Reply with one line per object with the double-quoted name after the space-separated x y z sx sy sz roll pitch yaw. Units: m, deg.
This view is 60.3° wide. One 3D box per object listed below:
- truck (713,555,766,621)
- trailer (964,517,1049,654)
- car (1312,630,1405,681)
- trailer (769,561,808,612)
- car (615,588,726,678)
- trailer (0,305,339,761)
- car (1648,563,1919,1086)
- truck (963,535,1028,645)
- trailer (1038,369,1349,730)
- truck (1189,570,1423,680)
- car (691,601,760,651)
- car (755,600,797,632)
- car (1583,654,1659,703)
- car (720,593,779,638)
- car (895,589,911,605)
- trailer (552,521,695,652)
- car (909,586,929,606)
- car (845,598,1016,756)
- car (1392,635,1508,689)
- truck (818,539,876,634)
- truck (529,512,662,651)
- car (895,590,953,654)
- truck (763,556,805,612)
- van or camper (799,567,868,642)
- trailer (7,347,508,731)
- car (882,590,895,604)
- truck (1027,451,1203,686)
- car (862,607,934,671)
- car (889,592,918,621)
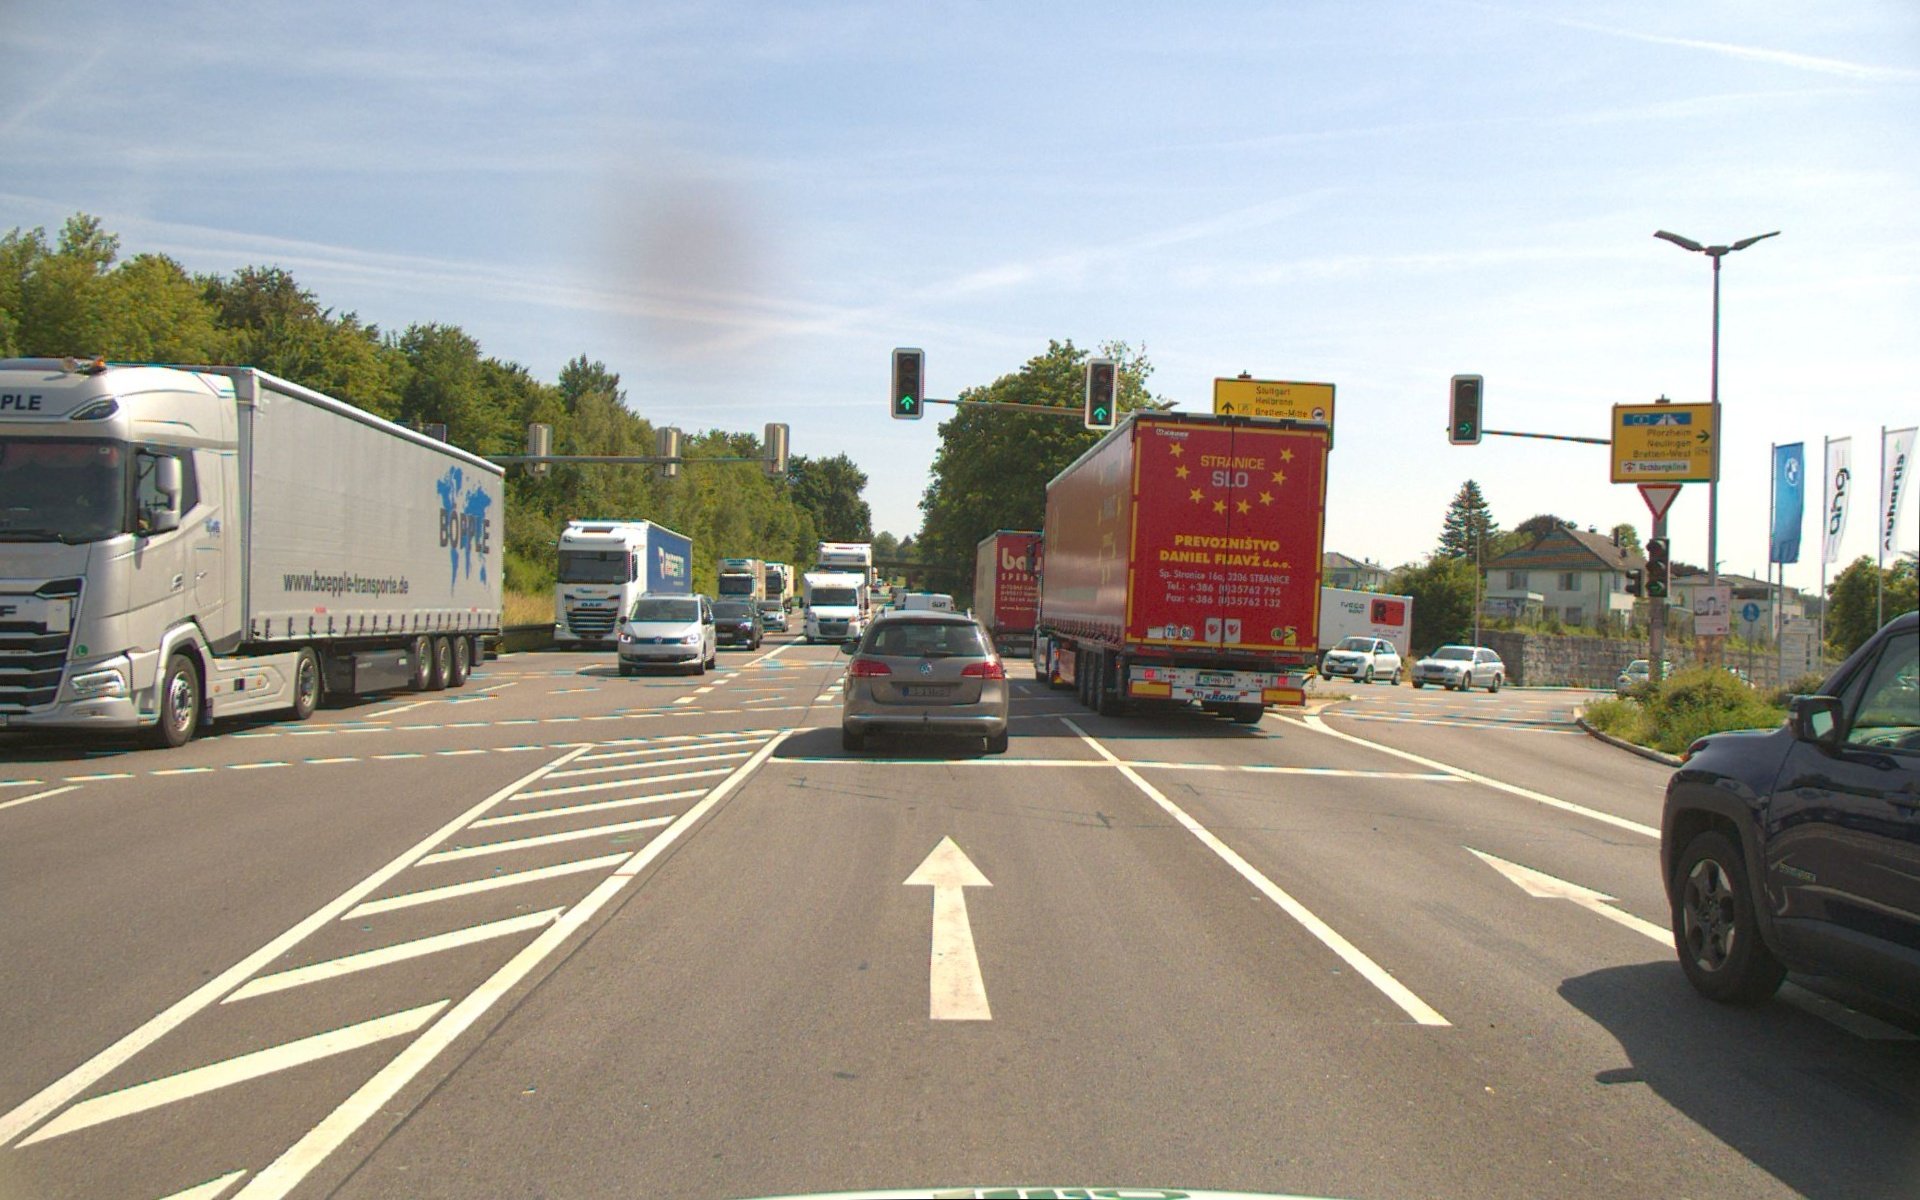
-14.351 -0.725 108.293 2.675 4.069 9.613 1 0 -3 "truck"
1.483 -0.431 58.859 2.346 4.317 13.074 1 0 -1 "trailer"
13.589 1.907 56.259 1.678 1.530 3.739 3 -2 37 "car"
-14.307 -1.091 138.542 2.784 4.141 8.749 1 0 -4 "trailer"
-6.239 0.661 36.073 1.806 1.763 4.585 2 0 -3 "car"
-9.141 -0.612 18.224 2.593 4.177 6.175 1 0 -4 "trailer"
3.961 0.731 5.366 1.734 1.683 3.999 1 0 -1 "car"
1.358 -0.370 65.931 2.357 4.200 5.519 1 0 -1 "truck"
3.269 -0.616 27.475 2.782 4.441 13.162 3 0 -2 "trailer"
14.777 1.094 70.488 9.528 3.690 2.752 6 -2 -20 "truck"
-7.481 0.797 53.091 1.955 1.511 4.448 1 0 -6 "car"
-8.954 0.774 80.627 1.690 1.528 3.999 1 0 -1 "car"
24.322 2.883 60.750 1.957 1.602 3.991 3 0 30 "car"
-8.489 0.626 67.007 1.953 1.756 3.999 1 0 -2 "car"
-7.312 -0.414 212.468 1.954 2.049 3.997 1 0 -3 "car"
-11.921 -0.410 60.180 3.031 4.151 14.117 1 0 -3 "trailer"
-4.264 -0.383 170.592 1.954 2.049 3.997 1 0 -3 "car"
-0.403 0.762 18.211 1.658 1.539 3.997 1 0 -3 "car"
16.180 2.058 54.481 1.962 1.531 4.977 3 -2 37 "car"
-5.165 -0.599 75.786 2.487 4.159 6.260 1 0 -4 "truck"
-11.553 -0.543 53.023 3.124 4.151 6.341 1 0 -3 "truck"
-1.193 0.687 53.232 1.735 1.970 3.975 1 0 -3 "car"
-13.723 -1.196 129.352 2.773 4.188 9.675 1 0 -4 "truck"
-4.680 0.184 62.264 2.283 2.646 6.975 1 0 -2 "van or camper"
-9.664 -0.654 25.250 2.638 4.220 13.867 1 0 -4 "trailer"
-10.988 -0.488 255.232 1.954 2.049 3.997 1 0 -3 "car"
3.082 -0.589 34.463 2.812 4.355 5.837 3 0 -1 "truck"
-1.635 0.966 42.592 1.735 1.539 3.997 1 0 -3 "car"
-4.133 0.453 120.258 1.954 2.049 3.997 1 0 -3 "car"
